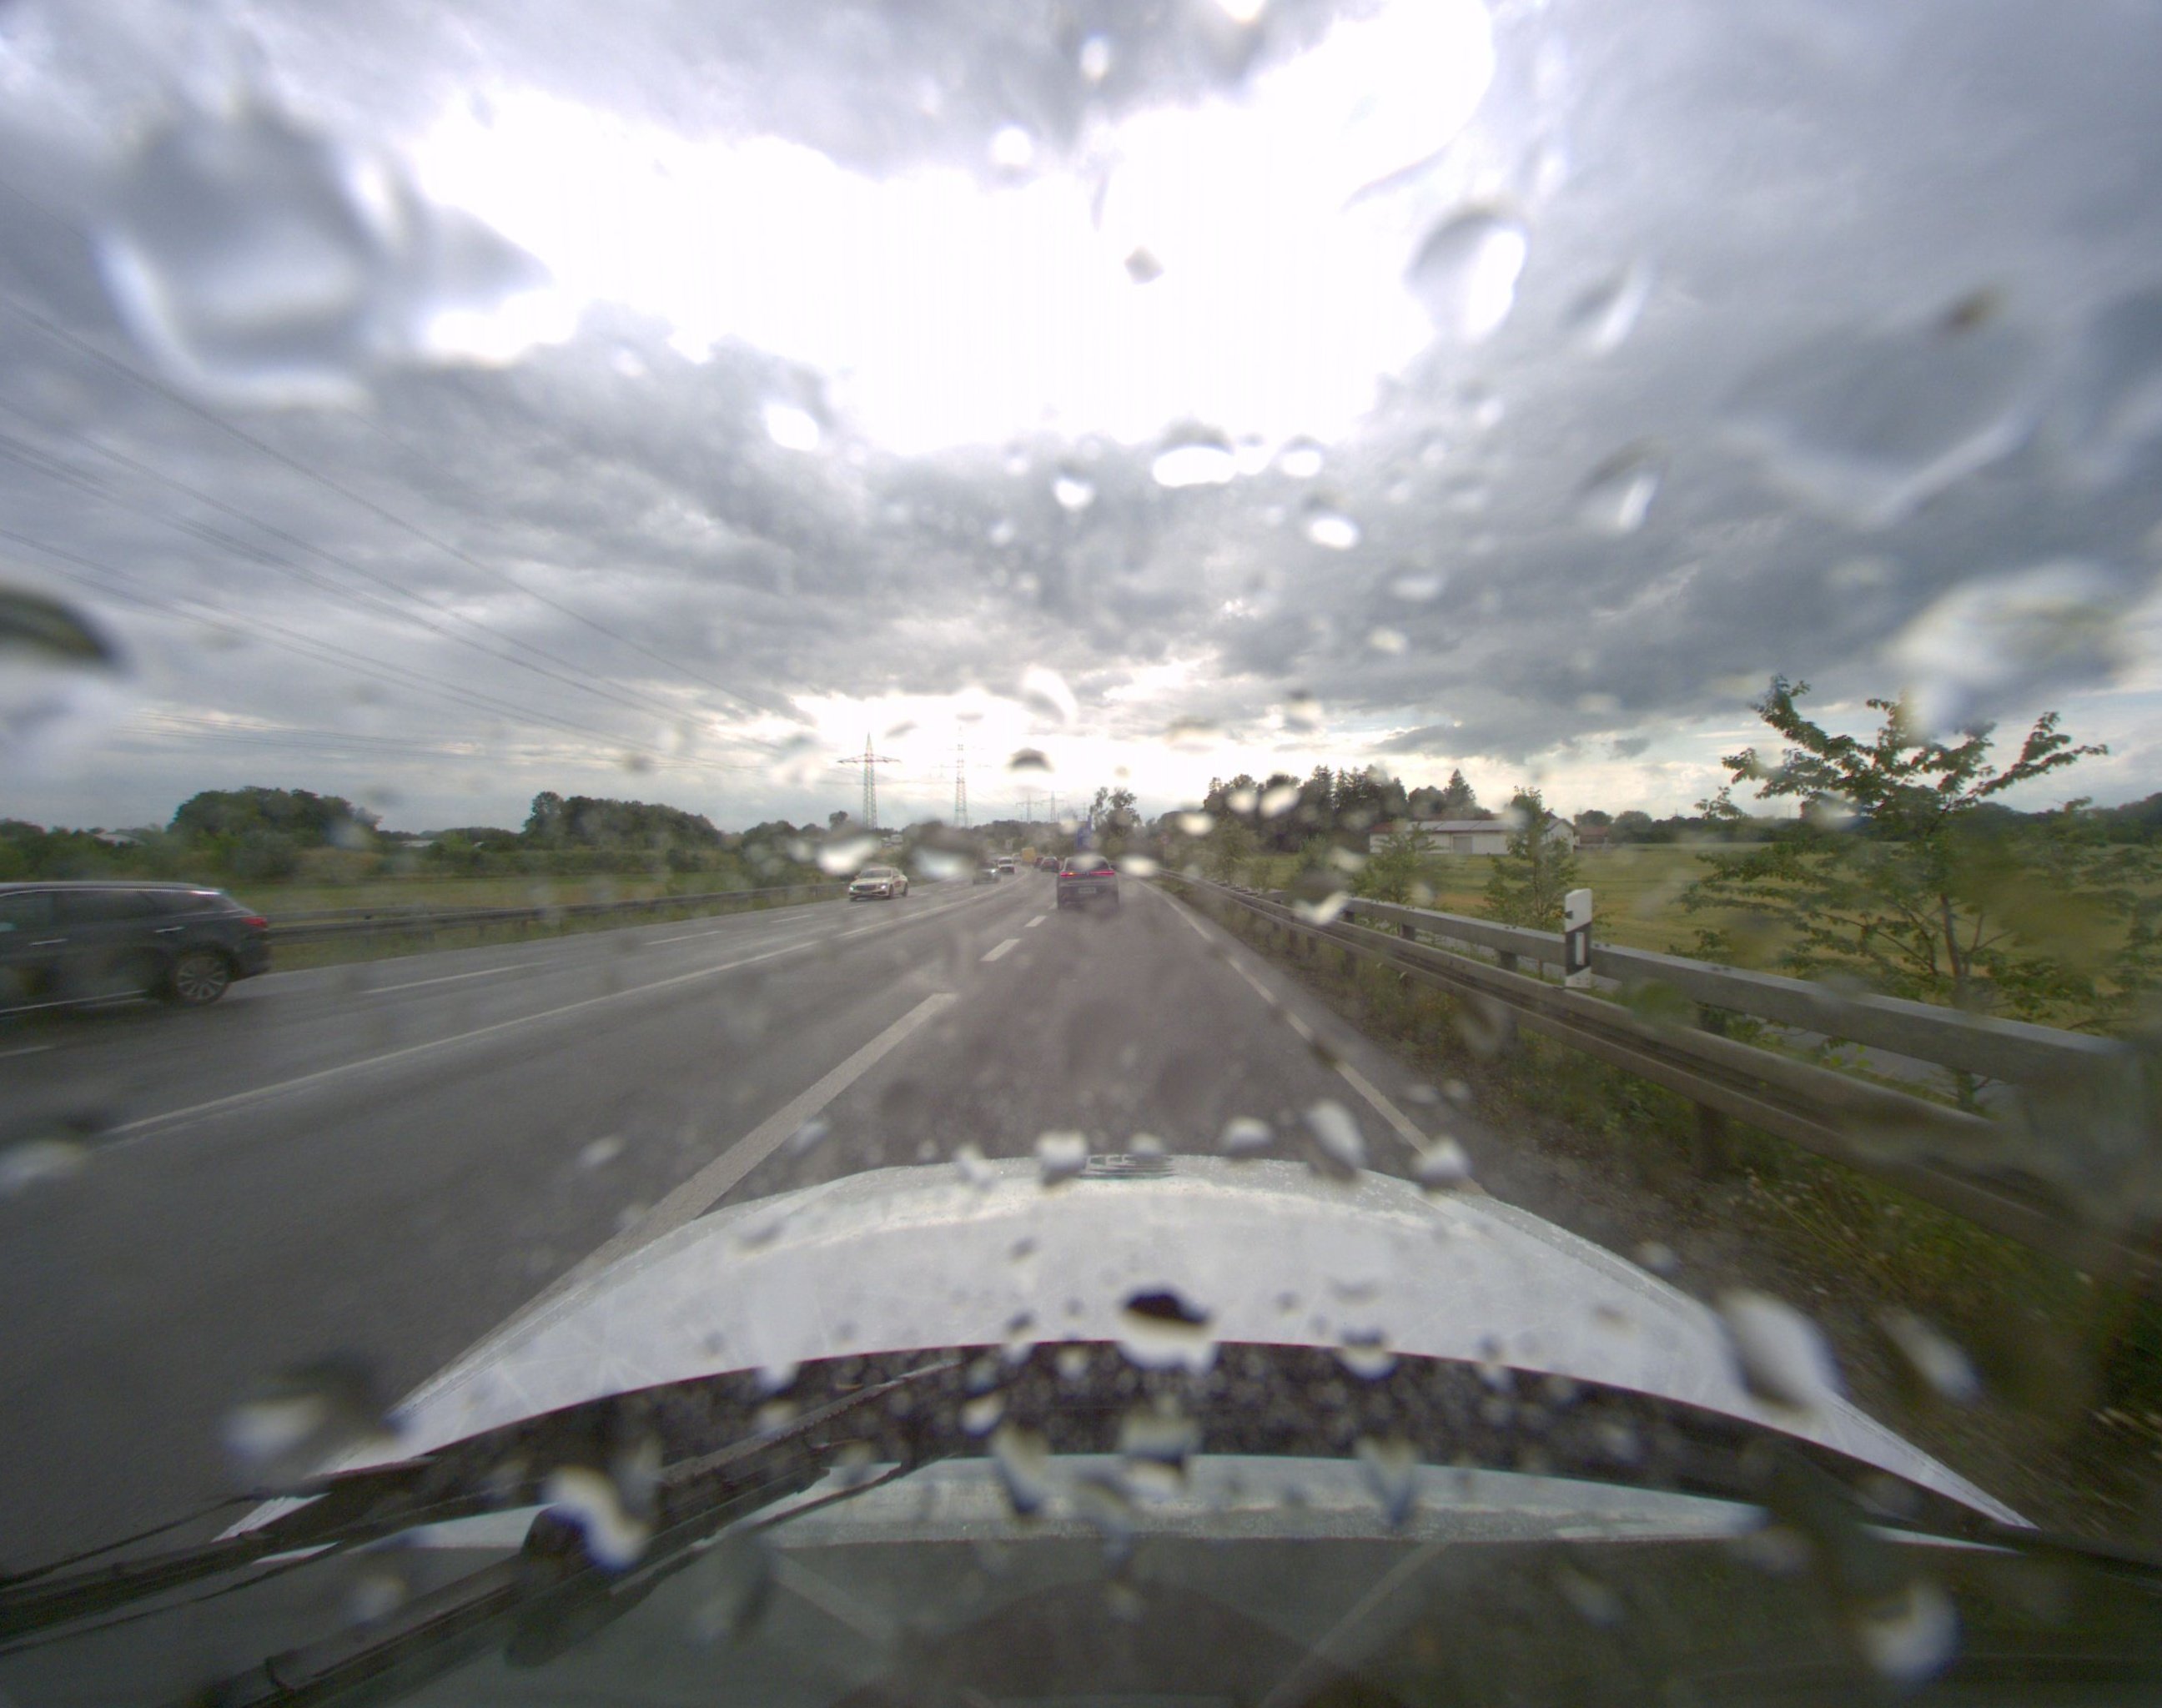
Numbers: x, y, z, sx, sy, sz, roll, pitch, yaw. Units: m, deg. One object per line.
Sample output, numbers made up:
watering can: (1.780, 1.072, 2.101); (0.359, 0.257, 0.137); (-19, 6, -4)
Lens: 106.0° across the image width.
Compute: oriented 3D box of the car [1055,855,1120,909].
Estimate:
car: (0.241, 0.782, 24.753); (1.785, 1.441, 4.001); (-2, 0, 1)

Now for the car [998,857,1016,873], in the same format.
car: (-7.729, 1.136, 84.548); (1.787, 1.666, 4.361); (0, 0, -6)

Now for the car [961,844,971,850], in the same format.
car: (-30.951, -1.878, 219.456); (1.798, 1.441, 3.972); (-2, 2, -21)

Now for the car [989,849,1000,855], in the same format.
car: (-21.736, -0.452, 203.905); (1.798, 1.441, 3.972); (1, 0, -21)

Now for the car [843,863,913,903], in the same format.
car: (-9.318, 1.271, 37.792); (1.936, 1.660, 4.647); (1, 0, 1)

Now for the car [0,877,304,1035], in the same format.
car: (-11.042, 1.018, 8.167); (1.763, 1.426, 4.738); (-2, 0, 3)

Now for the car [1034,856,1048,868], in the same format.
car: (-5.187, 1.002, 104.946); (1.788, 1.541, 3.994); (1, 0, -4)

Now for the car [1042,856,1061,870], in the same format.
car: (-3.141, 0.973, 86.239); (1.788, 1.441, 3.994); (-1, 0, -4)

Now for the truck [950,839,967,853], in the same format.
truck: (-31.068, -2.031, 206.199); (2.489, 3.291, 7.232); (-4, 1, -20)

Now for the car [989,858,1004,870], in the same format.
car: (-11.348, 1.376, 109.315); (1.893, 1.441, 4.889); (-4, 0, -6)

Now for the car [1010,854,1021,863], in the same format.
car: (-11.800, 0.779, 146.128); (1.789, 1.441, 3.992); (-3, 0, -6)

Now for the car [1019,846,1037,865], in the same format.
car: (-8.111, 0.170, 124.085); (2.568, 2.725, 7.185); (-1, 0, -4)

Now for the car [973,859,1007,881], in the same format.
car: (-6.442, 1.115, 58.314); (1.760, 1.500, 4.212); (-2, 0, 2)

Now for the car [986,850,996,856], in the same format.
car: (-22.556, -0.339, 203.793); (1.797, 1.441, 3.975); (1, 0, -19)
